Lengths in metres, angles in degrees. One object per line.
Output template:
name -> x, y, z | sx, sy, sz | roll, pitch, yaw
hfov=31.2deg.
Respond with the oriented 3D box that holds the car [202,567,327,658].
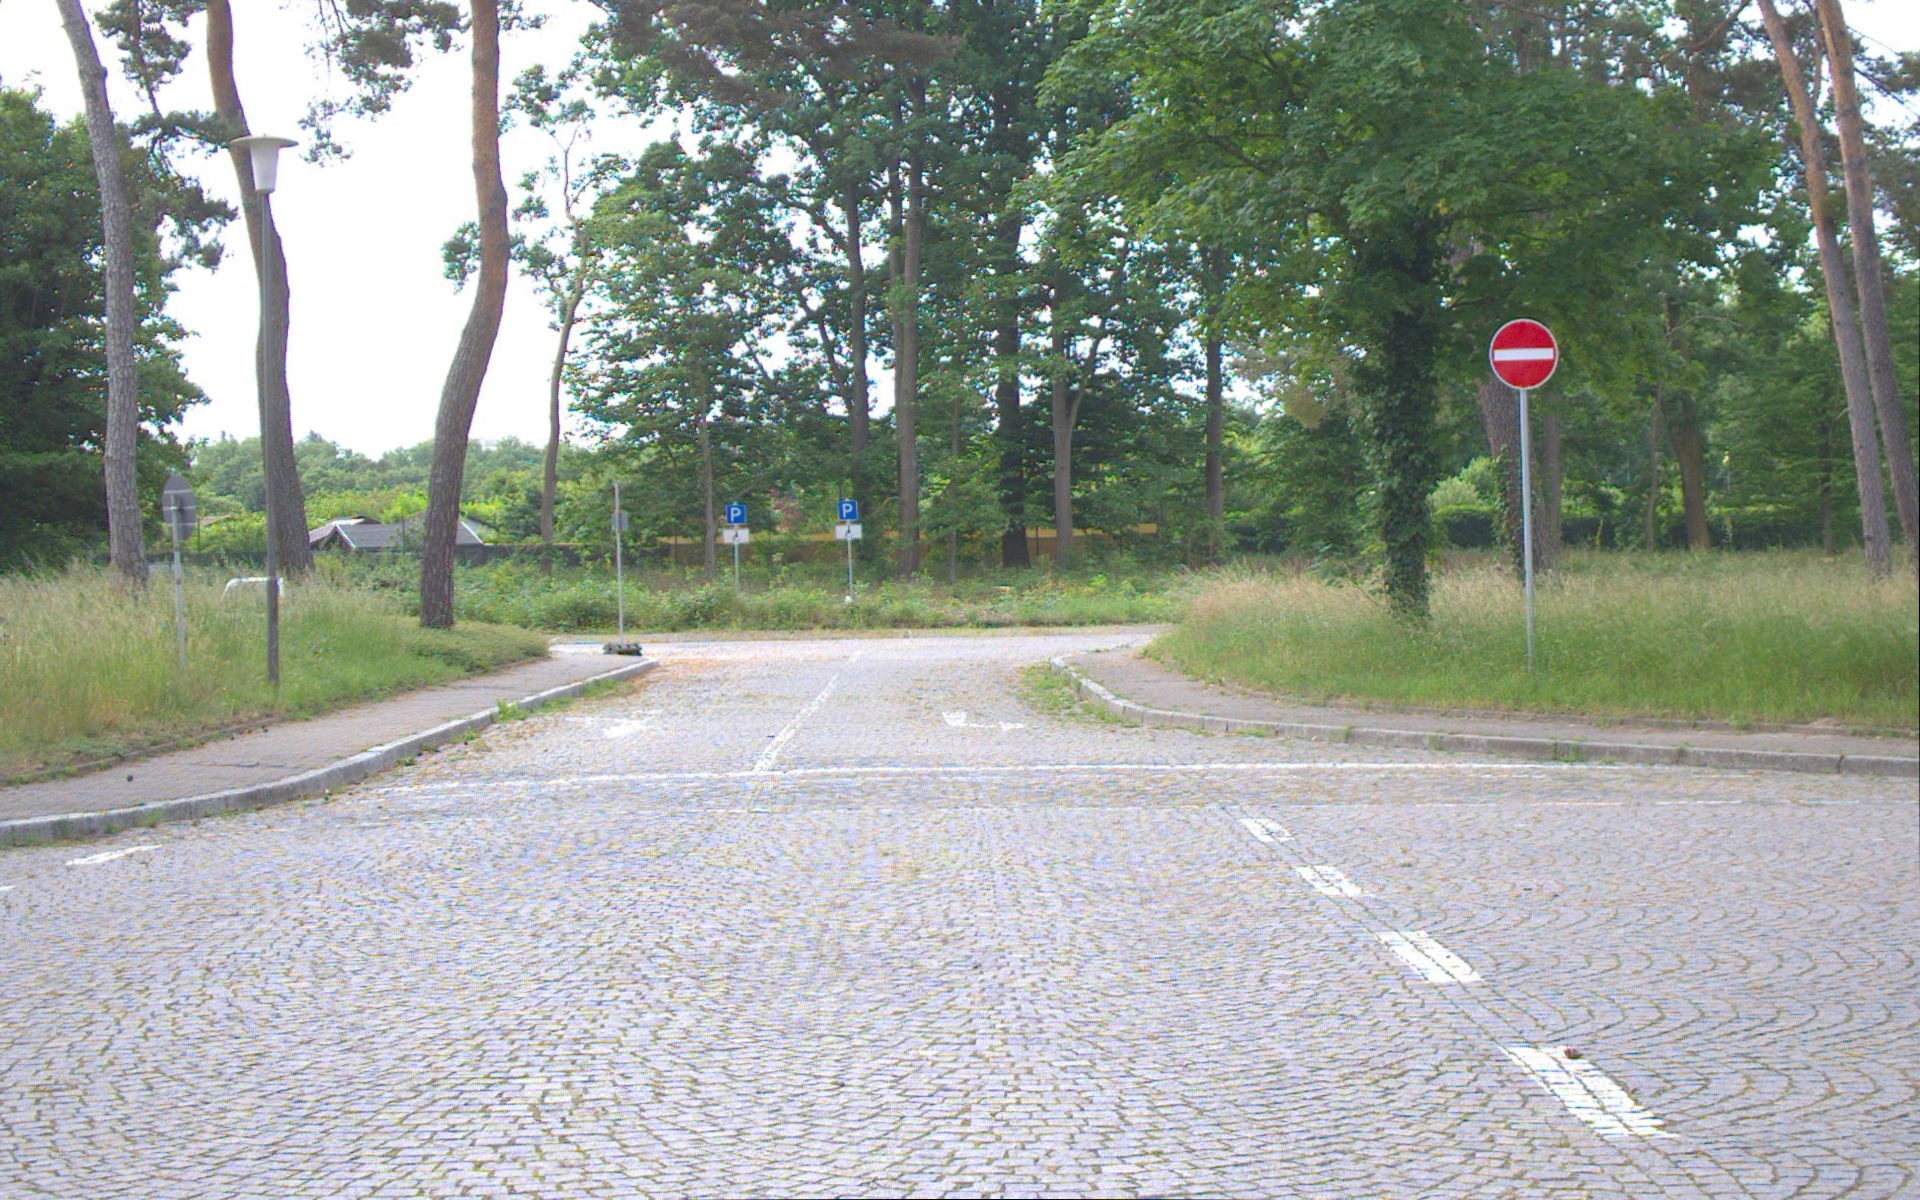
car -> -14.538, 0.236, 72.011 | 1.993, 1.840, 4.001 | 1, 1, -3
